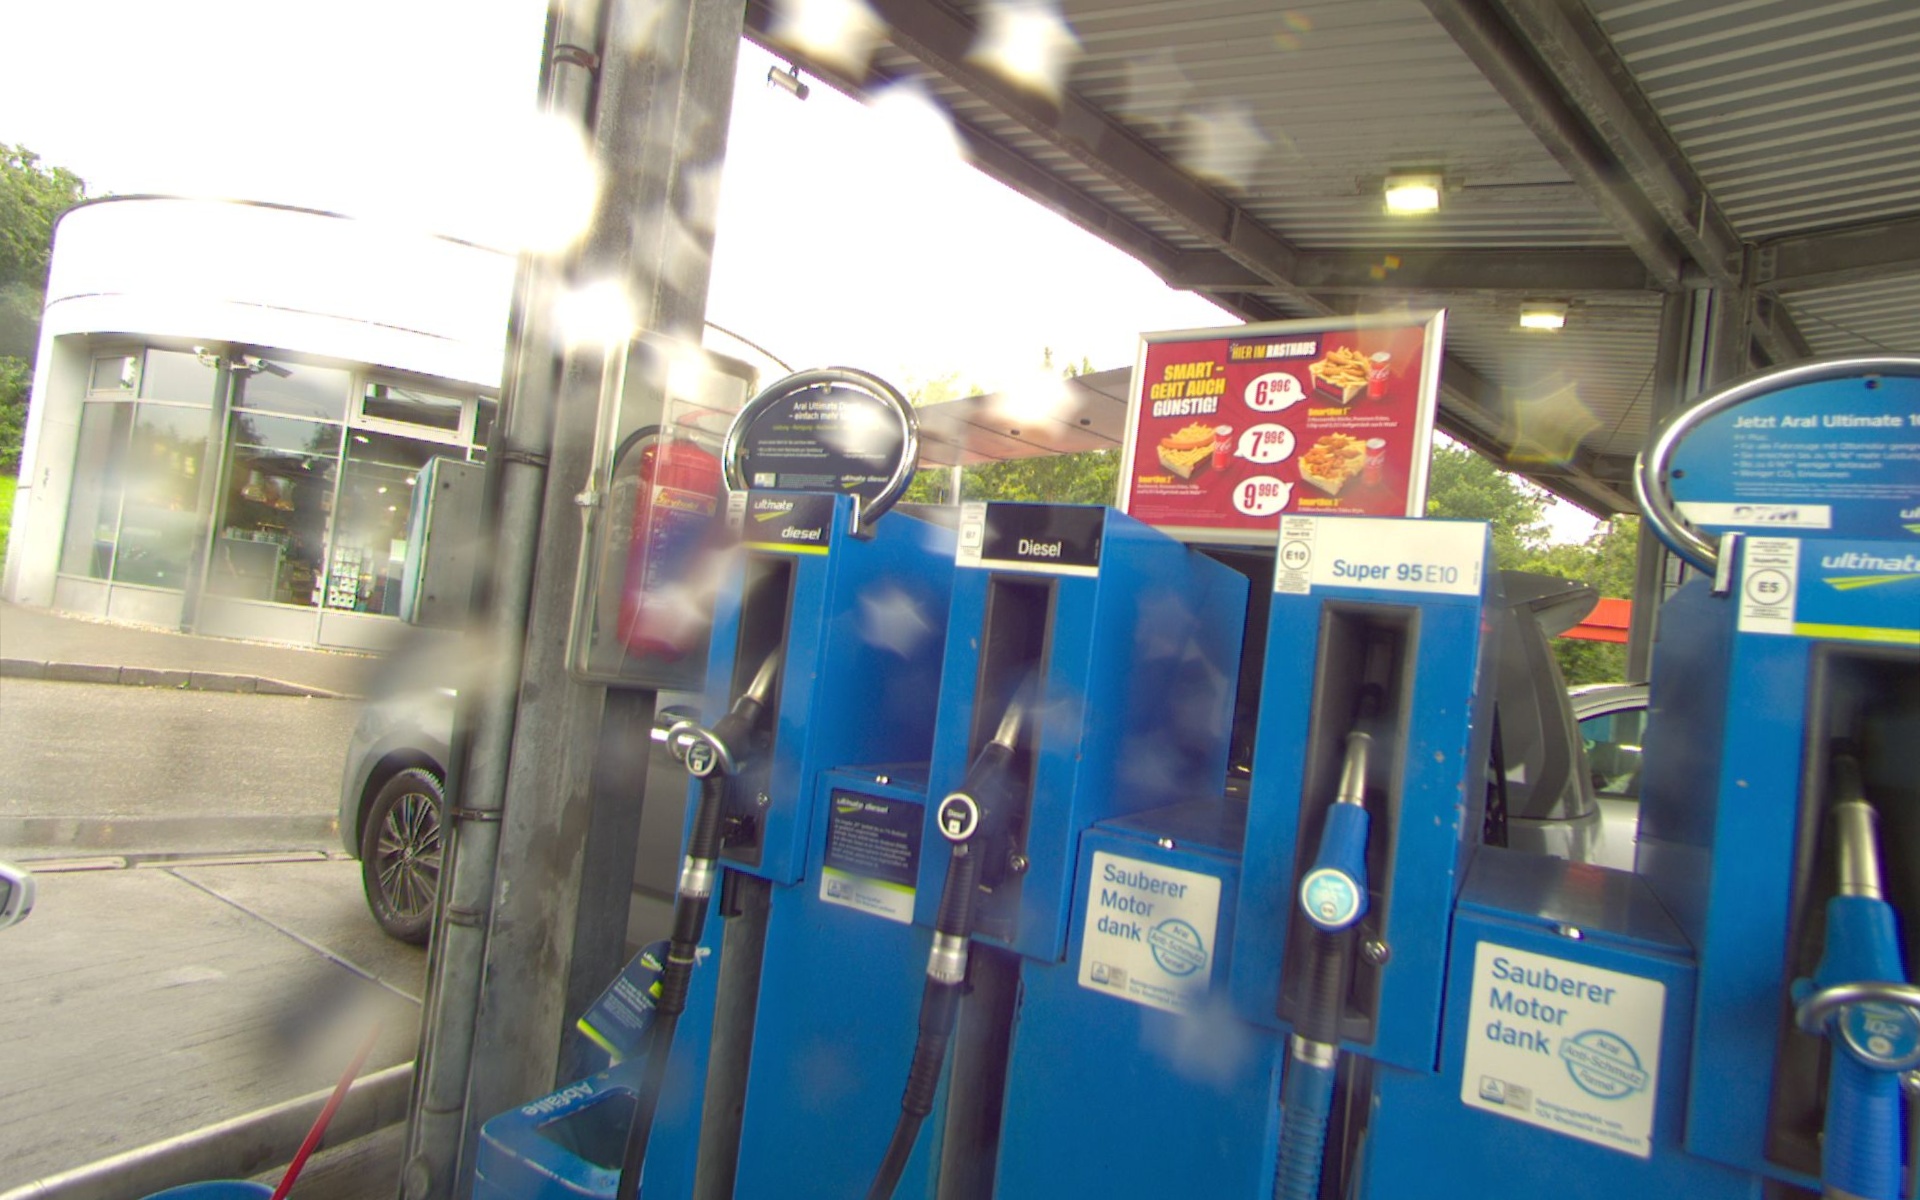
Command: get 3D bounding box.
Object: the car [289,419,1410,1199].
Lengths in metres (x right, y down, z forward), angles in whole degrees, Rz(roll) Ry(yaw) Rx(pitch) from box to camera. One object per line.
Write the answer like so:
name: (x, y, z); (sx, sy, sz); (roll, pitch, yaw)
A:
car: (-0.581, 0.501, 3.980); (3.934, 1.971, 1.819); (7, -1, 32)

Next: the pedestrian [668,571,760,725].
pedestrian: (-3.013, 0.572, 12.291); (0.786, 1.755, 0.835); (7, 0, -23)
